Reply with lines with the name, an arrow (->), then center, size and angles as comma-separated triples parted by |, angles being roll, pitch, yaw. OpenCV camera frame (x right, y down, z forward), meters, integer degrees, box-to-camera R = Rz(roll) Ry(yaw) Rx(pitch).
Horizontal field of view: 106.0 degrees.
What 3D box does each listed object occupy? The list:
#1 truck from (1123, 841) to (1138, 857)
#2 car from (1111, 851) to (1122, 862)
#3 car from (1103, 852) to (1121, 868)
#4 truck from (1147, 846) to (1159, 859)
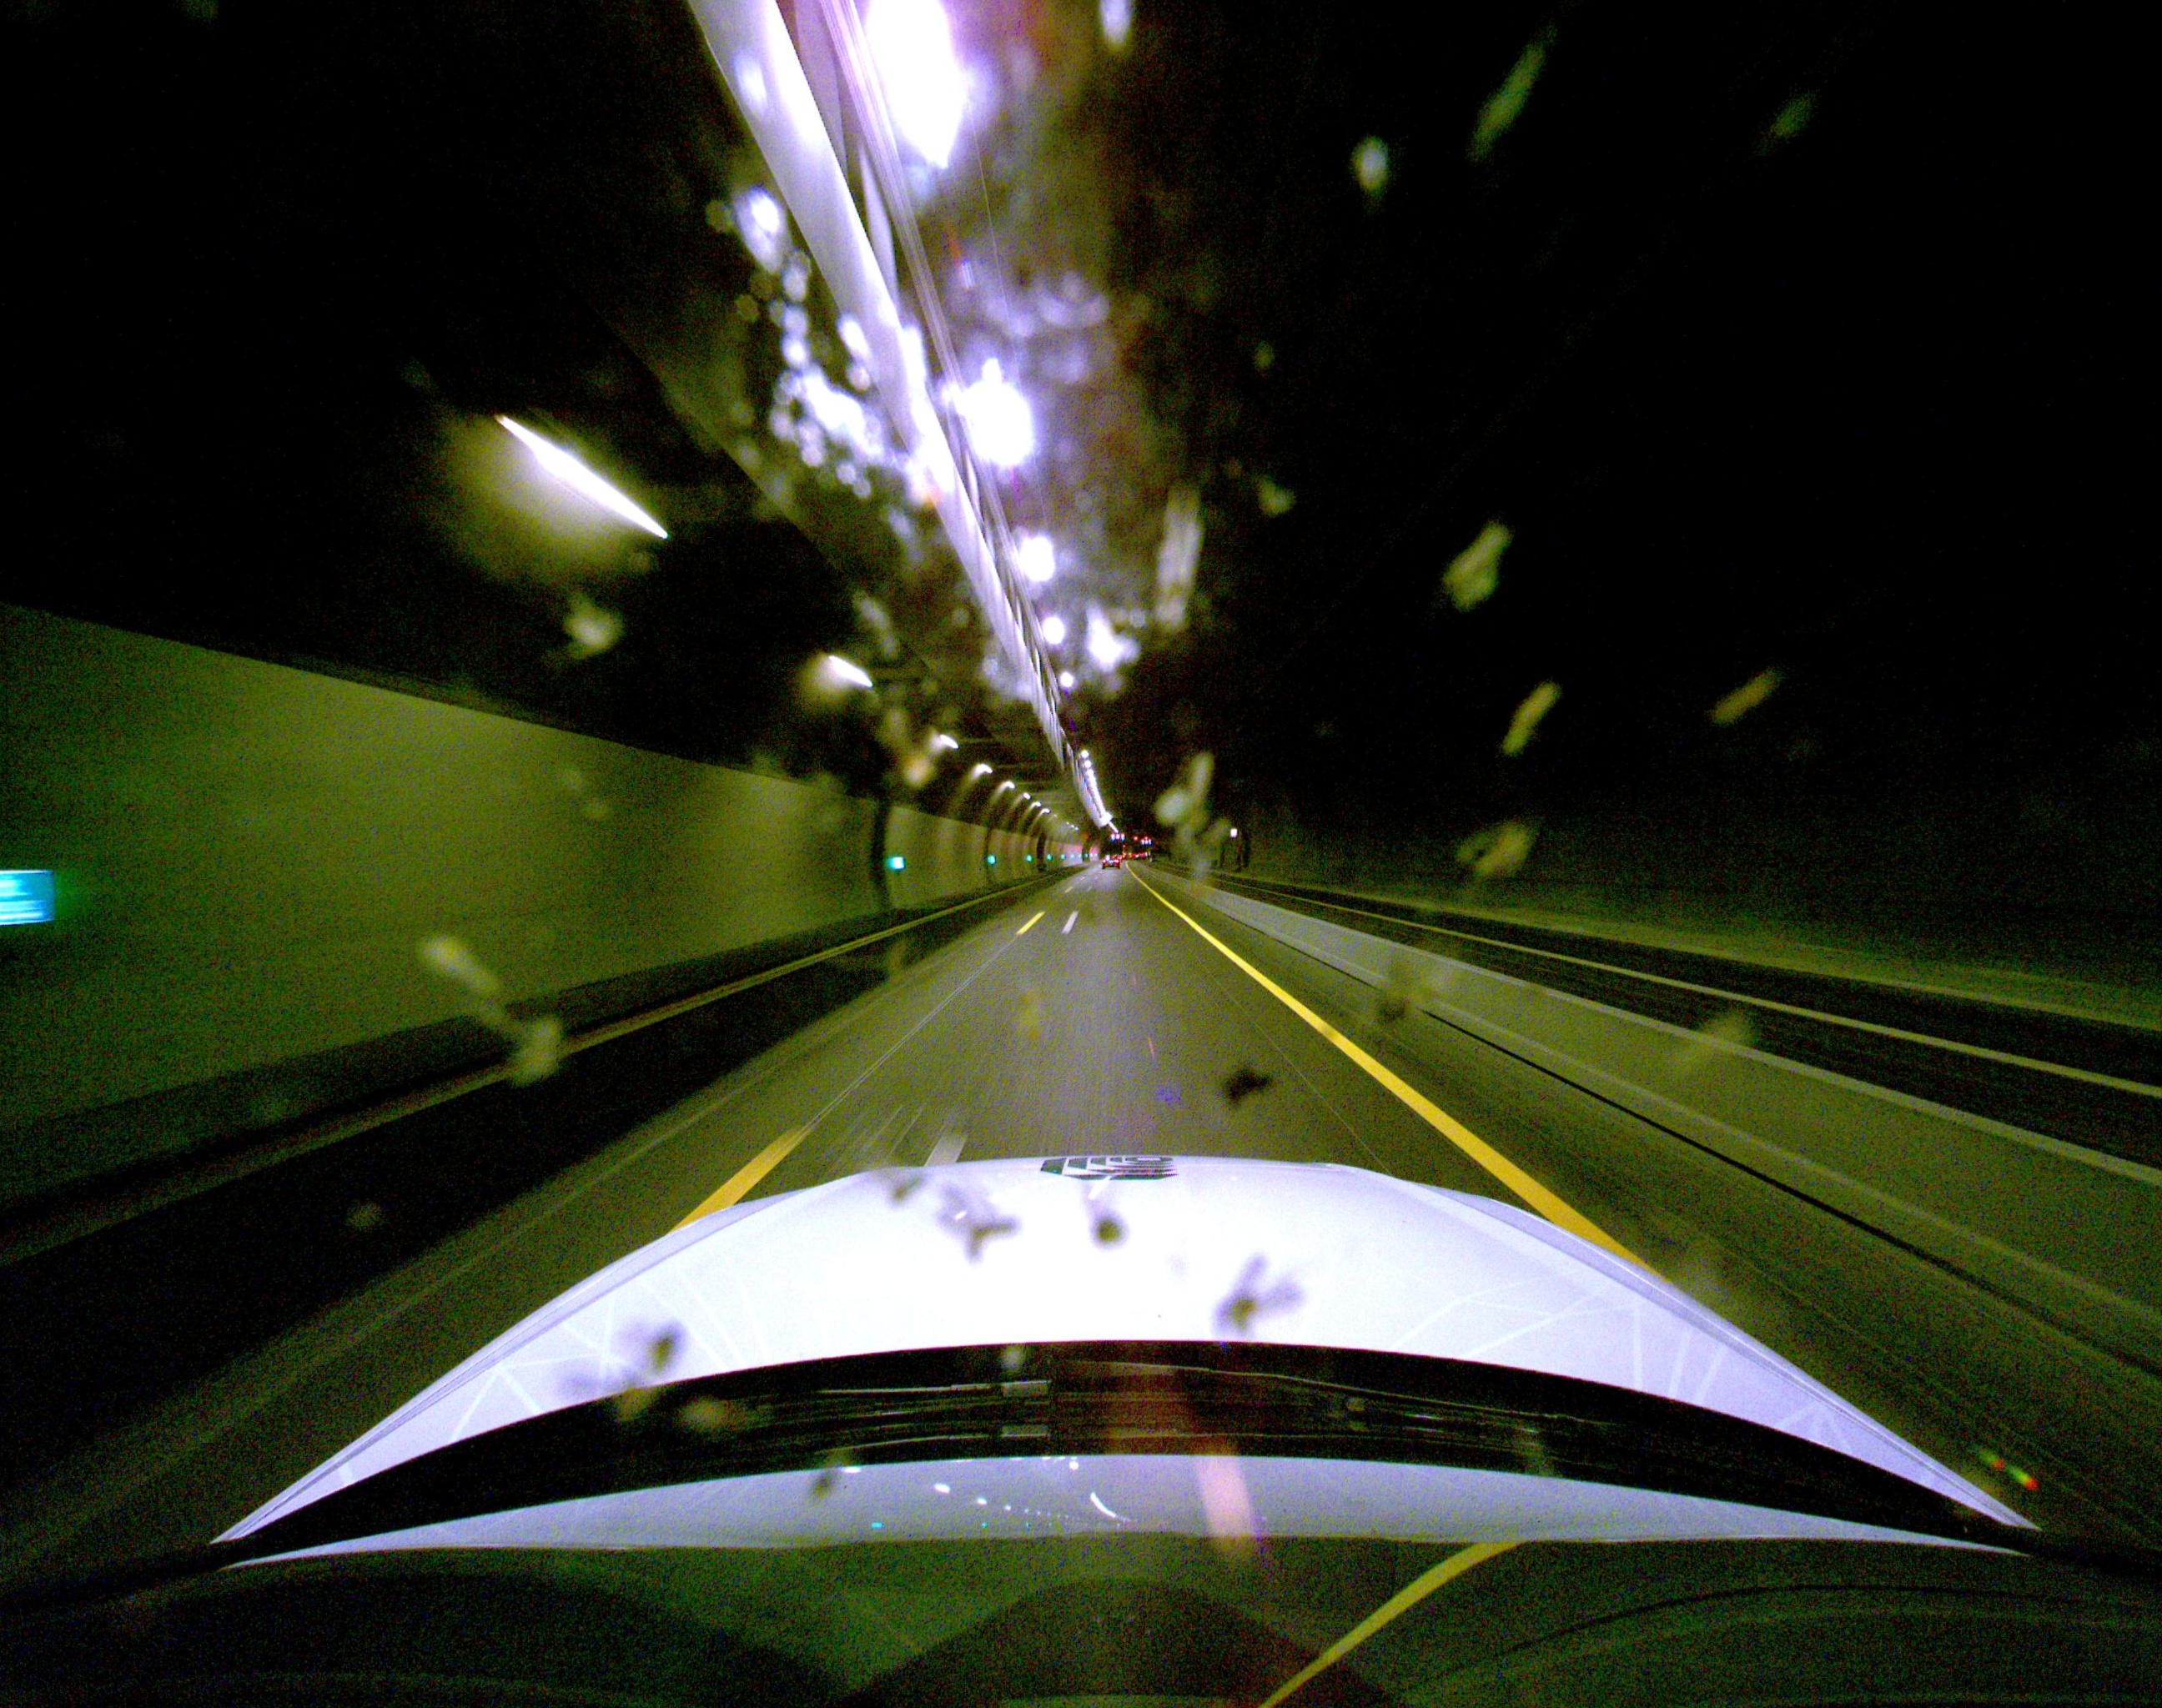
truck -> 15.626, -1.601, 257.259 | 4.526, 4.987, 9.607 | -1, 0, 3
car -> 6.731, 0.404, 154.068 | 1.986, 2.013, 4.001 | -1, 0, 2
car -> 3.283, 0.658, 87.363 | 1.881, 1.607, 4.000 | 0, 0, 1
truck -> 18.330, -0.303, 208.750 | 2.879, 3.272, 8.409 | -1, 0, 4
